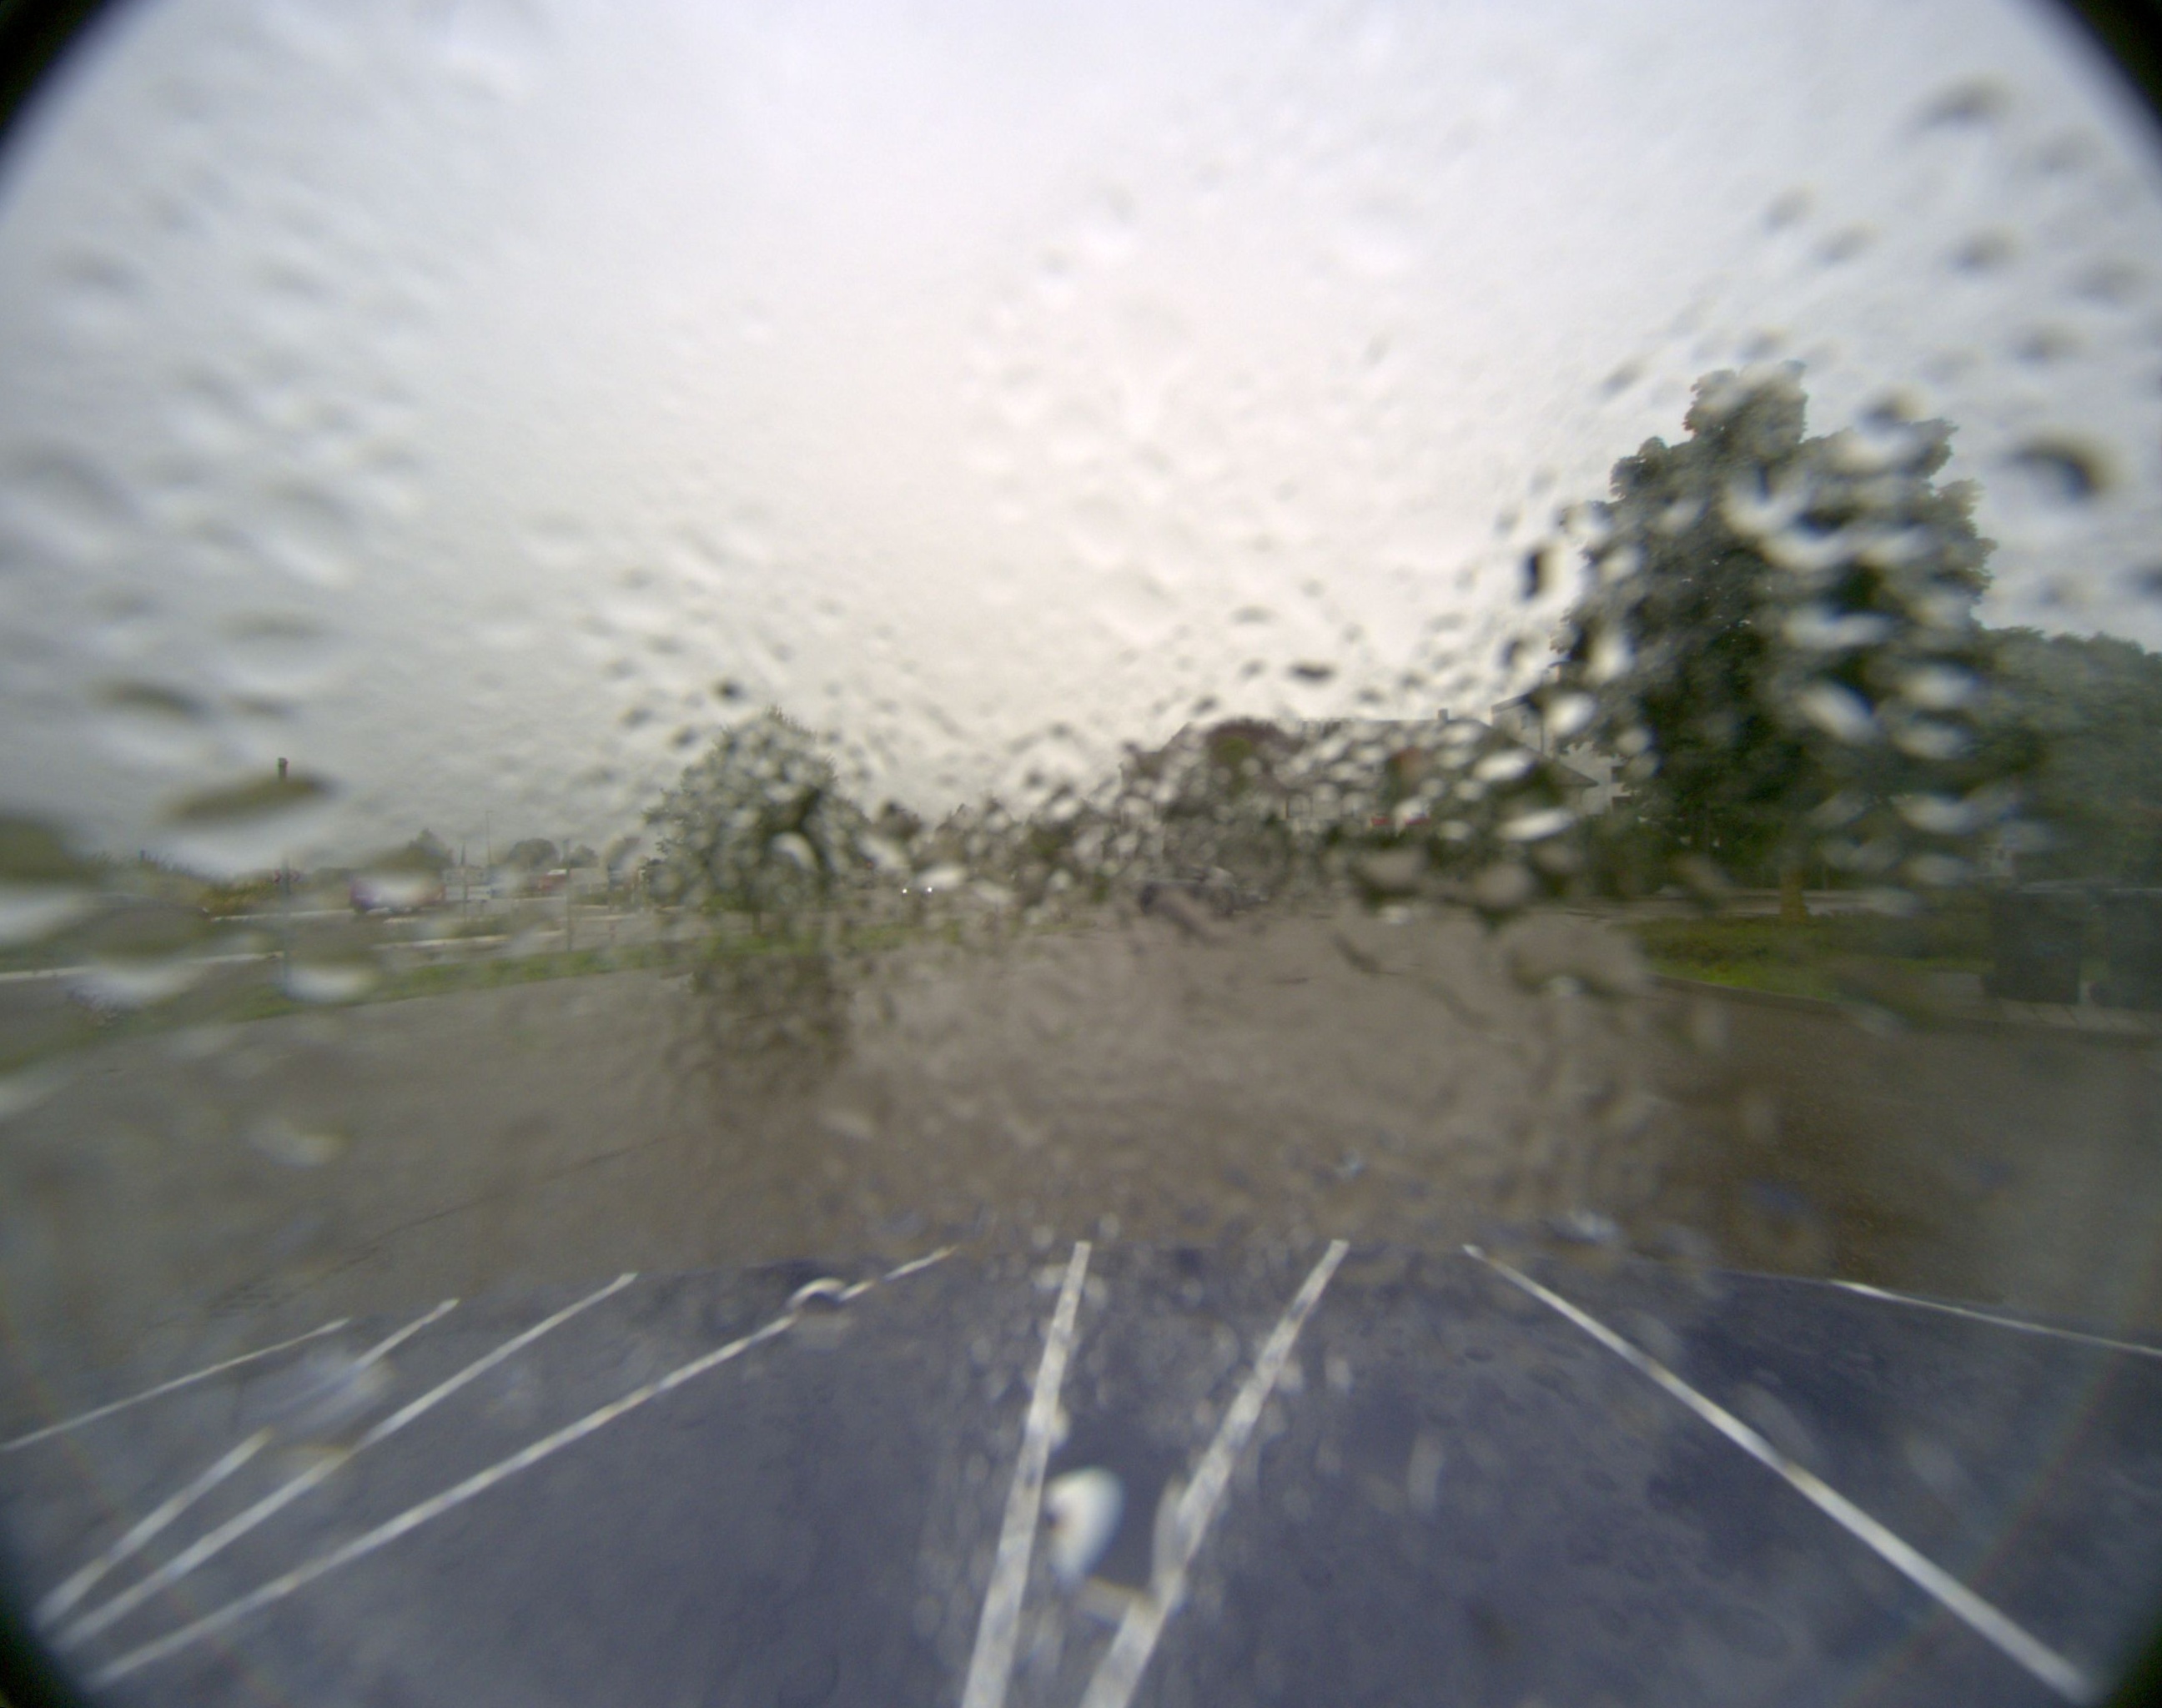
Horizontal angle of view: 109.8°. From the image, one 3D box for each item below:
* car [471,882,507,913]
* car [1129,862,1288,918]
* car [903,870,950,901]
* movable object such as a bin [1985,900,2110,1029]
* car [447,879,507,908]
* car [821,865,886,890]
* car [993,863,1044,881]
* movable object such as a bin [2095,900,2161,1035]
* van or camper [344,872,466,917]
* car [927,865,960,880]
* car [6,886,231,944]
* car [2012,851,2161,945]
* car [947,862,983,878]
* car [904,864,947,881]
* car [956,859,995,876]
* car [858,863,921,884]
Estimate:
[{"bbox_3d":[-45.104,3.287,57.943,2.004,2.002,3.989,-1,2,-36],"label":"car"},{"bbox_3d":[3.866,1.085,23.563,4.488,1.564,2.005,-2,-2,42],"label":"car"},{"bbox_3d":[-8.434,1.666,41.844,1.705,1.416,4.359,-3,0,-1],"label":"car"},{"bbox_3d":[7.683,0.860,6.062,0.434,0.943,0.474,-2,0,26],"label":"movable object such as a bin"},{"bbox_3d":[-45.907,2.992,57.764,3.990,2.002,2.003,-3,0,27],"label":"car"},{"bbox_3d":[-18.390,1.902,61.599,4.606,1.711,2.000,-3,0,0],"label":"car"},{"bbox_3d":[-5.526,1.553,67.314,4.357,1.416,1.850,-2,0,-1],"label":"car"},{"bbox_3d":[8.058,0.836,5.648,0.405,0.943,0.450,-3,0,2],"label":"movable object such as a bin"},{"bbox_3d":[-33.735,1.954,38.124,1.999,2.002,4.845,1,0,-4],"label":"van or camper"},{"bbox_3d":[-14.724,2.001,81.343,3.716,1.540,1.670,-3,-1,45],"label":"car"},{"bbox_3d":[-34.201,2.105,27.240,1.997,1.594,4.527,-2,0,10],"label":"car"},{"bbox_3d":[17.778,0.654,11.566,1.872,1.440,4.320,-1,-1,-31],"label":"car"},{"bbox_3d":[-12.710,1.765,83.153,3.878,1.560,1.753,-3,-1,40],"label":"car"},{"bbox_3d":[-16.259,1.973,79.277,4.636,1.541,2.004,-3,-1,42],"label":"car"},{"bbox_3d":[-11.831,1.561,85.214,3.989,1.717,1.994,-3,-1,39],"label":"car"},{"bbox_3d":[-18.014,1.803,71.658,5.374,1.711,2.000,-3,0,0],"label":"car"}]
